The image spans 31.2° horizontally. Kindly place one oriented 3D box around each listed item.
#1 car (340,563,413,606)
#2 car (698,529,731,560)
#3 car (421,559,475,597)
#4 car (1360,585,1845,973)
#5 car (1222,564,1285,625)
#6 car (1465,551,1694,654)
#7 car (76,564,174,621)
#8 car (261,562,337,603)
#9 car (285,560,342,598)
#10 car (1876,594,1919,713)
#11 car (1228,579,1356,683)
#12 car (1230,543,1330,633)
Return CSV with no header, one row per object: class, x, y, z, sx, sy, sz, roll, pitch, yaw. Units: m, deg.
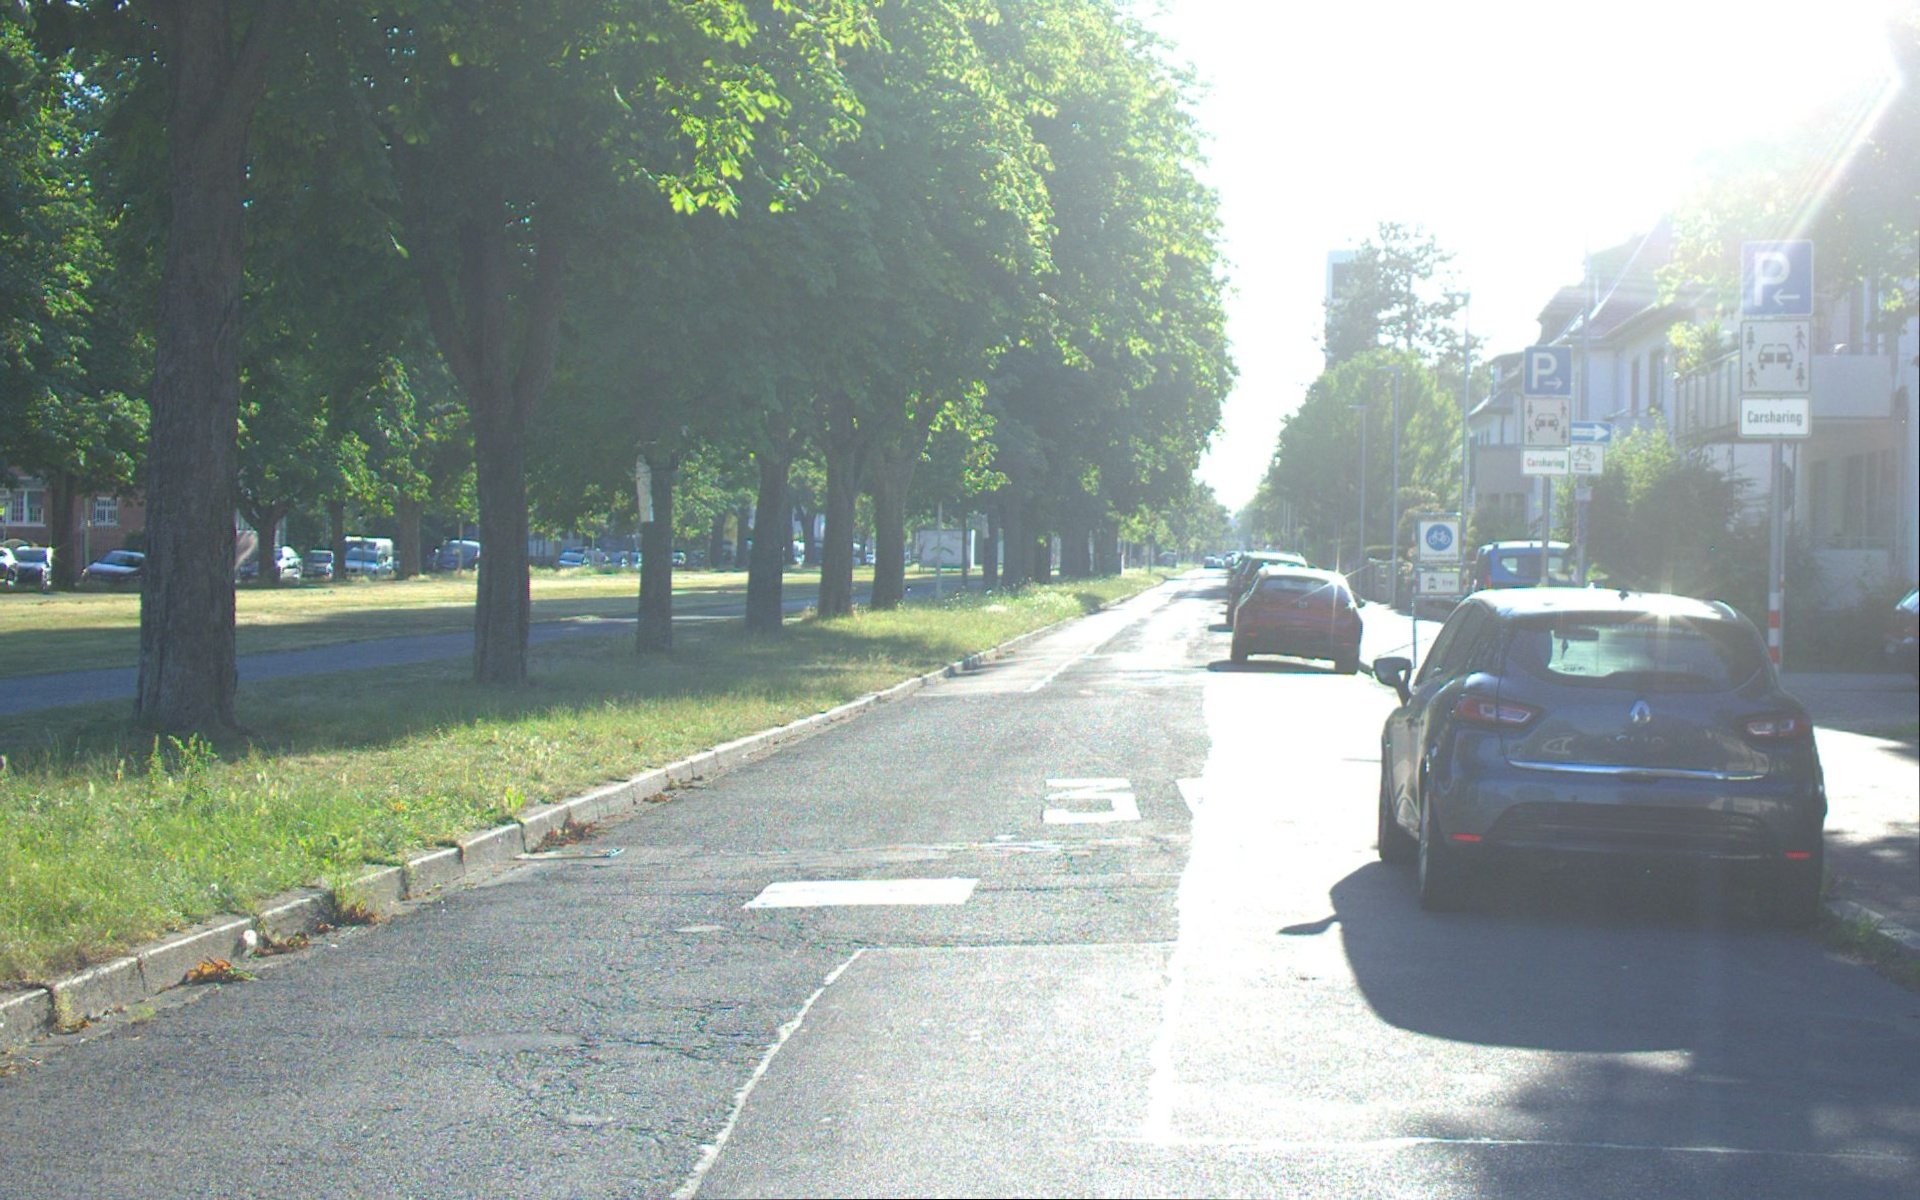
car,-24.364,-0.654,143.634,2.023,1.653,3.983,3,1,5
car,-16.407,-3.680,229.803,1.654,1.932,3.567,3,0,4
car,-24.250,-1.025,163.030,1.728,1.684,3.878,3,0,3
car,2.938,0.732,16.604,1.726,1.506,4.540,3,1,4
car,10.160,-0.215,119.389,1.994,2.007,4.000,3,1,4
car,11.647,0.059,64.858,3.987,1.816,1.759,0,-4,1
car,-27.431,-0.261,113.051,1.812,1.775,4.121,3,1,5
car,-28.725,-0.763,149.514,1.994,1.653,4.354,3,1,6
car,-29.527,-0.963,157.062,1.639,1.637,3.854,3,1,3
car,13.654,0.692,42.964,3.987,1.442,1.716,1,1,4
car,4.785,0.417,49.990,1.710,1.355,4.202,3,1,4
car,7.022,-0.283,75.731,1.994,1.775,4.000,3,2,4
